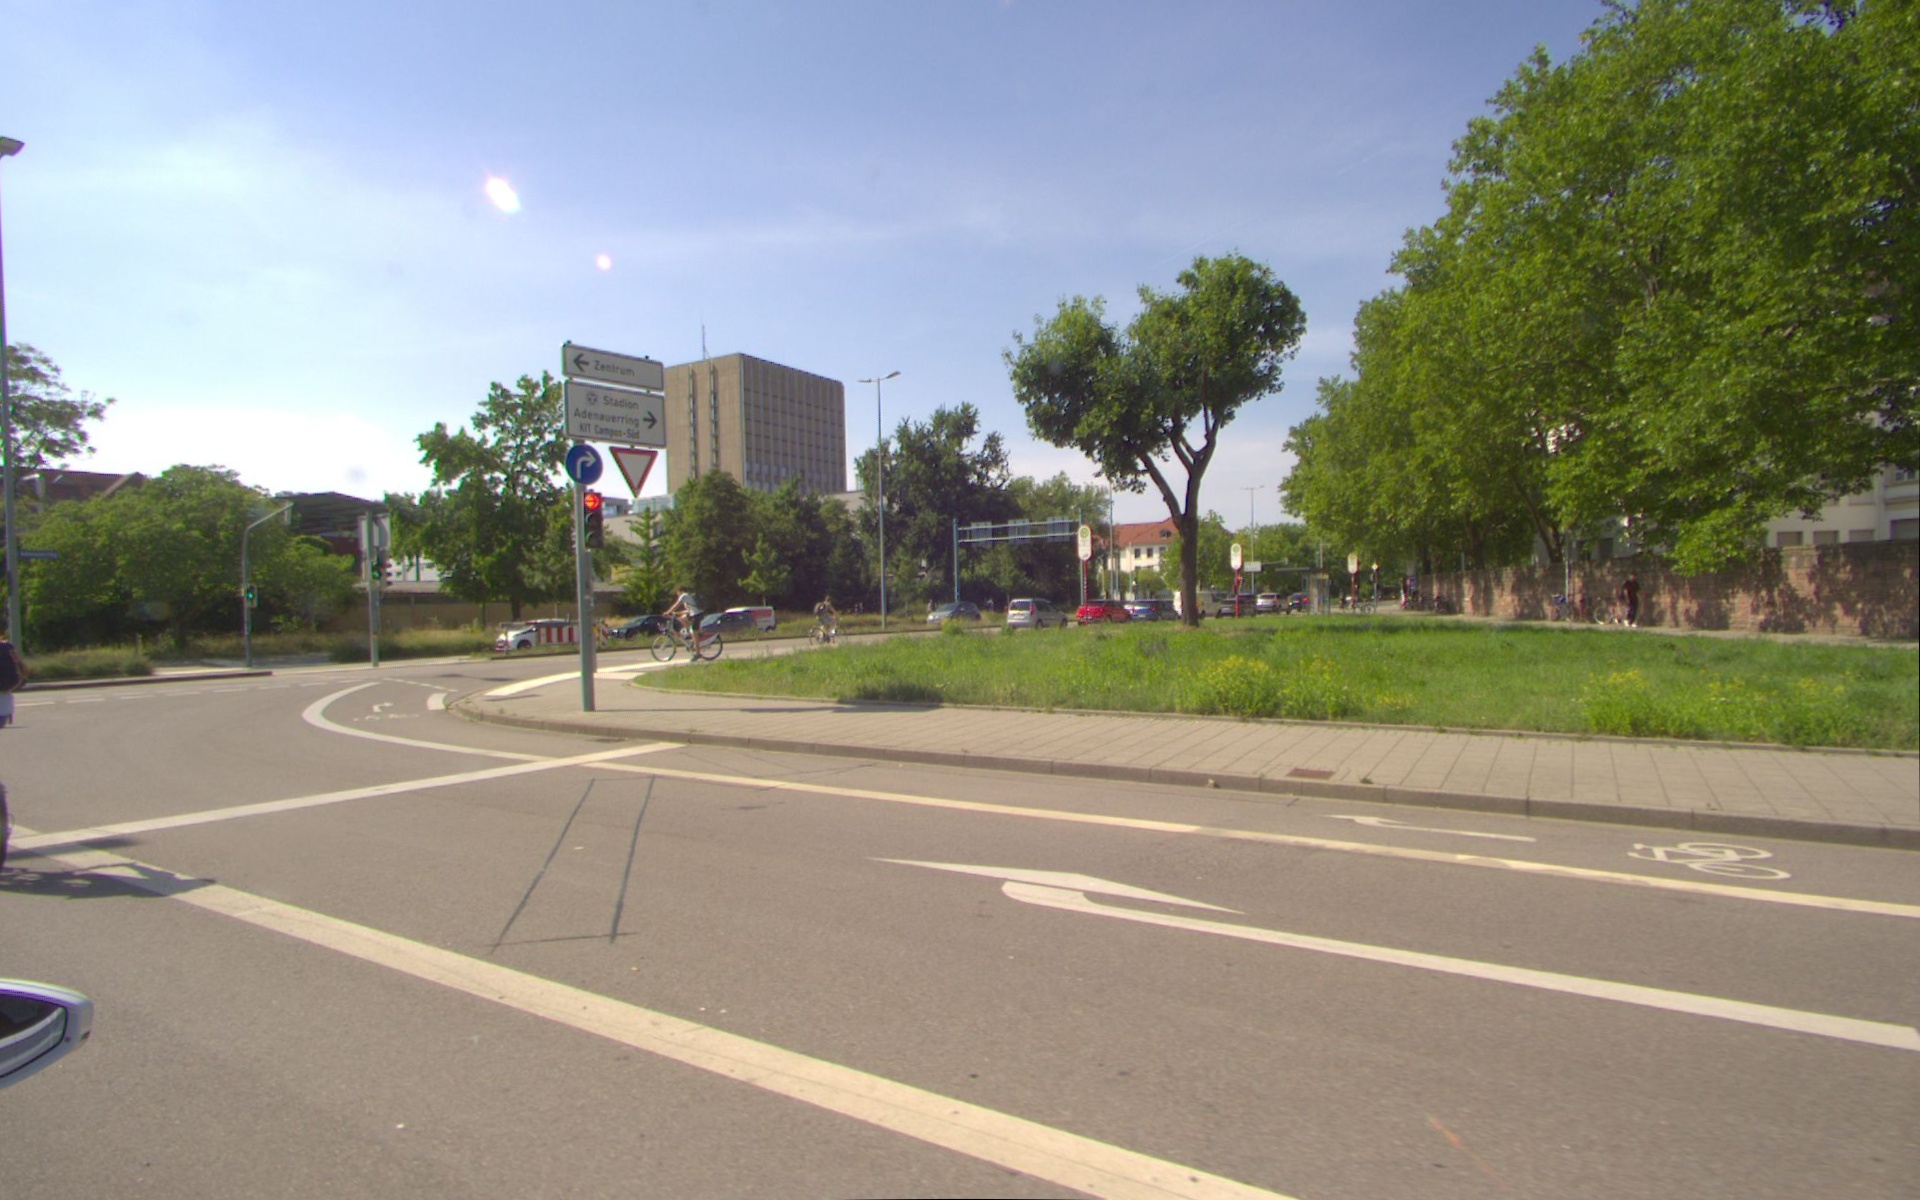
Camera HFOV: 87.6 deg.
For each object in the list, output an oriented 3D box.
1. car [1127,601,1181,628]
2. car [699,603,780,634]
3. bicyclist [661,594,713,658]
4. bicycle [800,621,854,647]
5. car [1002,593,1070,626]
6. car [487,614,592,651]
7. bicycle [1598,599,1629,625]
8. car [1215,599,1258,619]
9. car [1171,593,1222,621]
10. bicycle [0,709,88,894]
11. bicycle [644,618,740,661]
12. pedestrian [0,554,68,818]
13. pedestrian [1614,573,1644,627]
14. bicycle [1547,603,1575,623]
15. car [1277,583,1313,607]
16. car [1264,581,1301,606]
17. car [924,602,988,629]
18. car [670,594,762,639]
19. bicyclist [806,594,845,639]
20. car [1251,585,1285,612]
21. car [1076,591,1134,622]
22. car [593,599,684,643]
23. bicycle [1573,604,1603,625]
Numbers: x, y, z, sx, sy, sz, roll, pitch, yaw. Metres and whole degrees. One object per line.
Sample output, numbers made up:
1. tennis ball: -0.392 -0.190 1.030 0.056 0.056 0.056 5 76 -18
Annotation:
1. car: 11.928 0.877 61.387 1.729 1.494 3.973 -1 1 36
2. car: -12.170 0.991 55.492 1.883 1.590 4.300 -1 1 32
3. bicyclist: -6.471 0.608 23.769 1.121 1.489 0.496 -1 -1 -11
4. bicycle: -4.499 1.149 33.866 0.554 0.803 1.878 1 2 44
5. car: 3.812 0.461 49.834 1.727 1.528 3.978 -1 1 32
6. car: -19.070 1.446 45.569 1.972 1.483 3.978 -2 0 32
7. bicycle: 22.956 0.423 35.200 0.365 0.867 1.307 -1 1 7
8. car: 20.051 0.642 72.587 1.729 1.357 3.973 -1 1 36
9. car: 15.795 0.440 66.759 1.729 1.781 4.403 0 1 36
10. bicycle: -6.075 1.152 5.981 1.996 0.943 0.596 -1 -1 27
11. bicycle: -6.360 0.926 23.849 2.128 0.928 0.674 -1 1 -11
12. pedestrian: -5.839 0.496 5.866 0.997 1.485 0.583 -1 0 26
13. pedestrian: 22.417 -0.007 33.539 0.608 1.763 0.599 -1 1 3
14. bicycle: 23.138 0.486 38.567 0.334 0.738 1.364 -1 1 5
15. car: 29.182 -0.469 87.264 1.973 2.040 3.976 -1 1 34
16. car: 27.189 -0.582 84.343 1.973 2.040 3.976 -1 1 34
17. car: -0.188 0.885 59.411 1.619 1.424 4.080 -3 -1 37
18. car: -12.023 0.793 49.549 1.976 2.040 3.971 -3 -1 37
19. bicyclist: -4.538 0.550 33.826 0.558 1.494 1.158 0 1 44
20. car: 24.665 -0.114 80.124 1.968 2.040 3.984 -1 1 26
21. car: 8.072 0.401 55.344 1.727 1.527 3.981 -1 -3 32
22. car: -16.172 1.013 50.492 1.973 2.041 3.975 -1 1 34
23. bicycle: 23.086 0.511 36.823 0.334 0.738 1.364 -1 1 5
